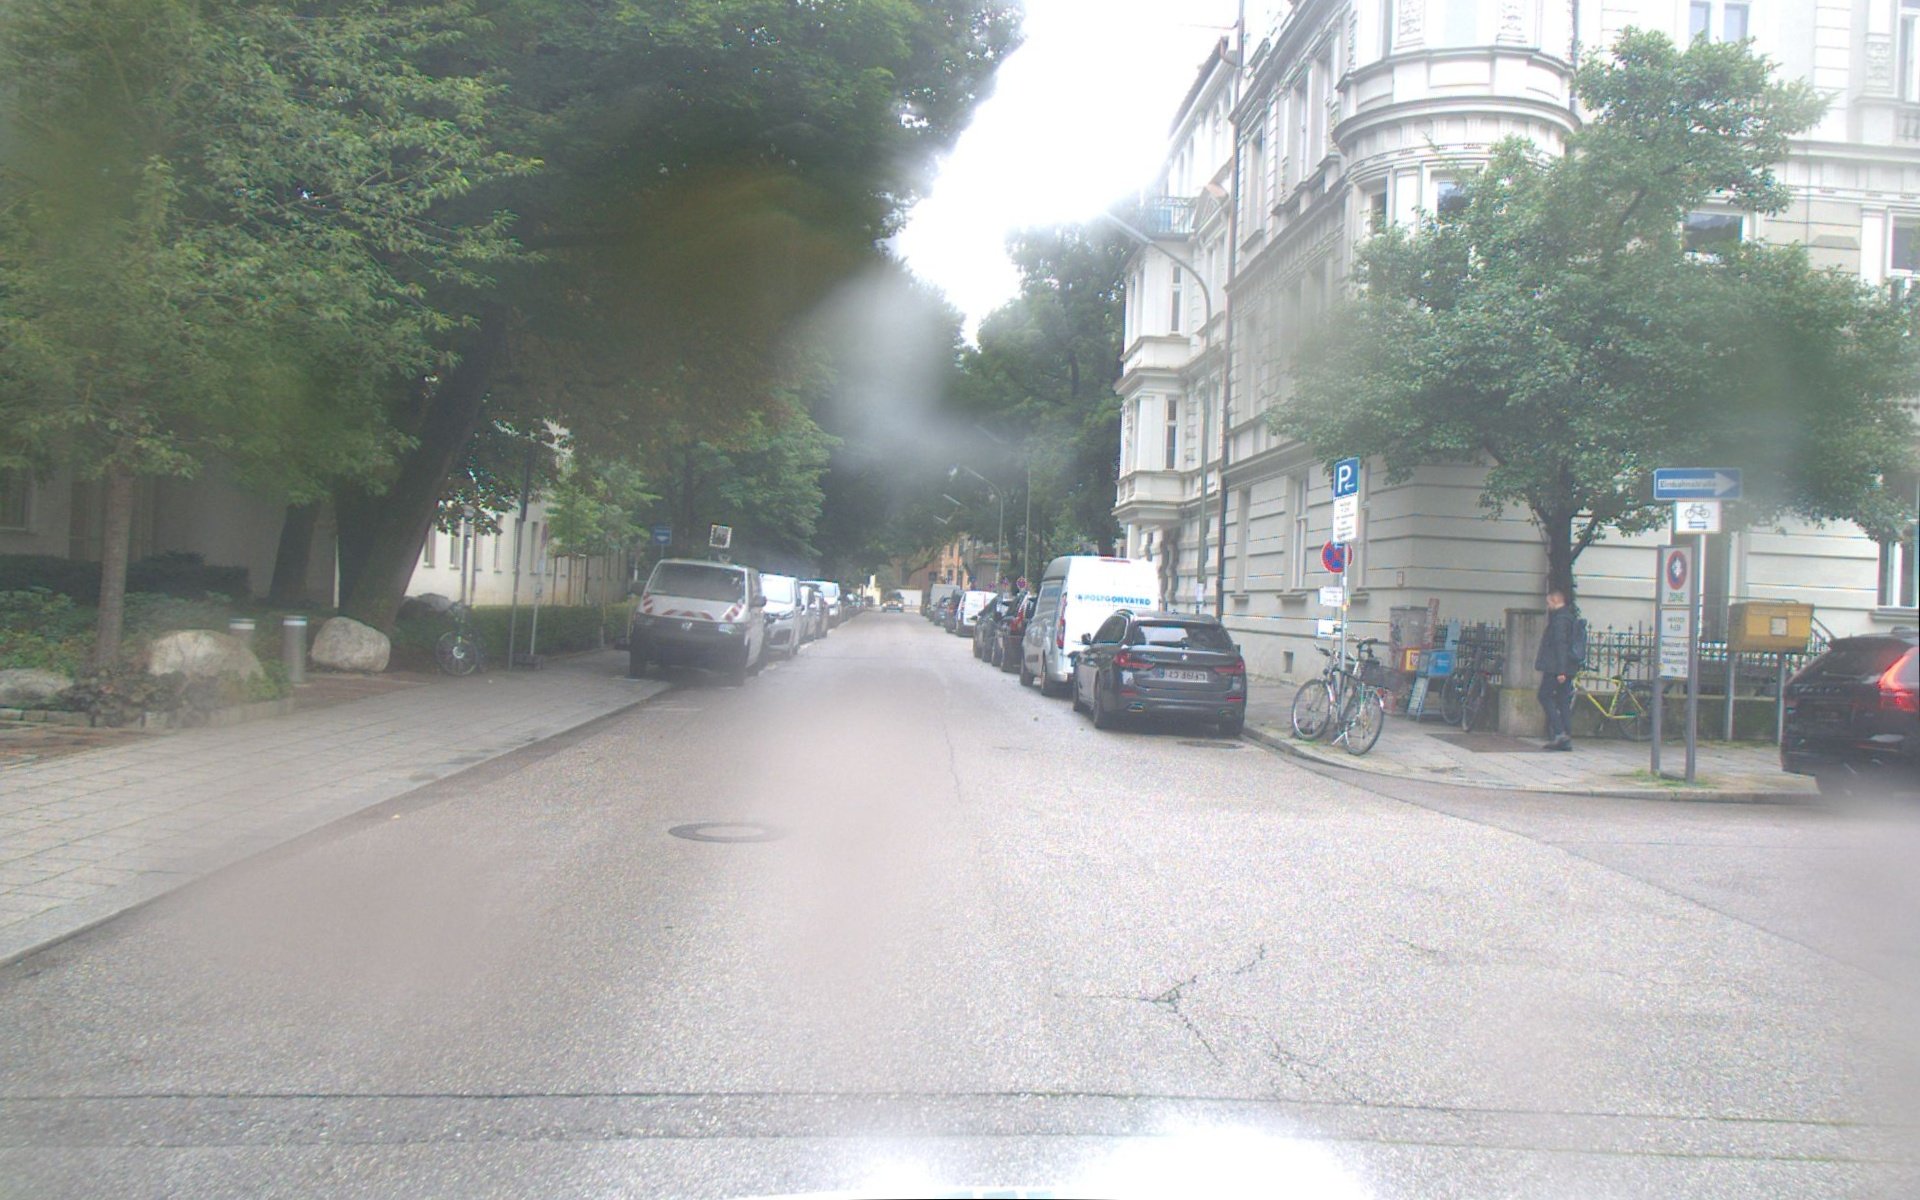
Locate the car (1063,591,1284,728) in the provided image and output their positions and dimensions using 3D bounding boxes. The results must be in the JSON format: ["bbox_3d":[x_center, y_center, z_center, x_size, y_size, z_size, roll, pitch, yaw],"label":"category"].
[{"bbox_3d":[2.653,0.709,21.699,2.226,1.573,4.586,1,0,-1],"label":"car"}]

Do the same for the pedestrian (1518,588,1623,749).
[{"bbox_3d":[6.814,0.738,18.449,0.954,1.719,0.858,1,0,30],"label":"pedestrian"}]

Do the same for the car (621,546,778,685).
[{"bbox_3d":[-4.296,0.228,28.128,2.204,1.990,5.447,4,0,-6],"label":"car"}]

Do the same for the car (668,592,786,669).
[{"bbox_3d":[-4.720,0.578,34.029,2.170,1.352,3.943,4,0,-6],"label":"car"}]

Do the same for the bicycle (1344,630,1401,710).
[{"bbox_3d":[6.033,1.004,24.237,0.534,1.079,1.752,2,0,6],"label":"bicycle"}]

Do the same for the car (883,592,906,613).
[{"bbox_3d":[-5.972,0.185,150.993,1.953,1.814,3.999,2,0,-1],"label":"car"}]

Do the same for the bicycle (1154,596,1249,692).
[{"bbox_3d":[4.103,0.723,28.261,0.697,1.542,2.027,2,0,-20],"label":"bicycle"}]

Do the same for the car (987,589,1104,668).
[{"bbox_3d":[1.867,0.613,37.479,2.096,1.658,4.311,1,0,-5],"label":"car"}]

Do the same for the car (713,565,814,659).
[{"bbox_3d":[-4.669,0.253,39.841,2.142,1.990,5.160,4,0,-6],"label":"car"}]

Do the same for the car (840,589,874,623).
[{"bbox_3d":[-7.056,0.381,112.812,2.008,2.192,4.308,4,0,-6],"label":"car"}]

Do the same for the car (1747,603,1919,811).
[{"bbox_3d":[9.880,1.035,14.694,4.940,1.681,1.941,3,-4,-6],"label":"car"}]

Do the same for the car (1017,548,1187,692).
[{"bbox_3d":[2.342,0.331,28.654,2.160,2.247,4.850,1,0,-5],"label":"car"}]

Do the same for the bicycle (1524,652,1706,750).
[{"bbox_3d":[7.693,1.181,19.457,1.883,1.046,0.557,2,1,0],"label":"bicycle"}]

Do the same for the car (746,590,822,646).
[{"bbox_3d":[-5.411,0.525,51.220,2.028,1.546,4.234,4,0,-3],"label":"car"}]

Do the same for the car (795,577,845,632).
[{"bbox_3d":[-6.110,0.189,72.800,1.963,2.224,4.692,4,0,-4],"label":"car"}]

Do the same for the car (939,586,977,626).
[{"bbox_3d":[-0.126,0.316,90.817,1.953,2.049,3.999,2,0,-1],"label":"car"}]

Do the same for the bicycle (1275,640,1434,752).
[{"bbox_3d":[4.332,1.033,18.339,0.644,1.046,2.191,2,1,-18],"label":"bicycle"}]

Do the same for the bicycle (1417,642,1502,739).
[{"bbox_3d":[6.221,1.107,20.689,0.421,1.046,1.890,2,1,-1],"label":"bicycle"}]

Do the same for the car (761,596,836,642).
[{"bbox_3d":[-5.427,0.631,56.147,2.075,1.352,4.138,4,0,0],"label":"car"}]

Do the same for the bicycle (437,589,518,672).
[{"bbox_3d":[-7.051,0.435,24.243,0.620,1.122,1.767,3,0,-1],"label":"bicycle"}]

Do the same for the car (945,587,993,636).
[{"bbox_3d":[0.356,0.461,71.637,1.953,2.010,3.999,2,0,-1],"label":"car"}]
